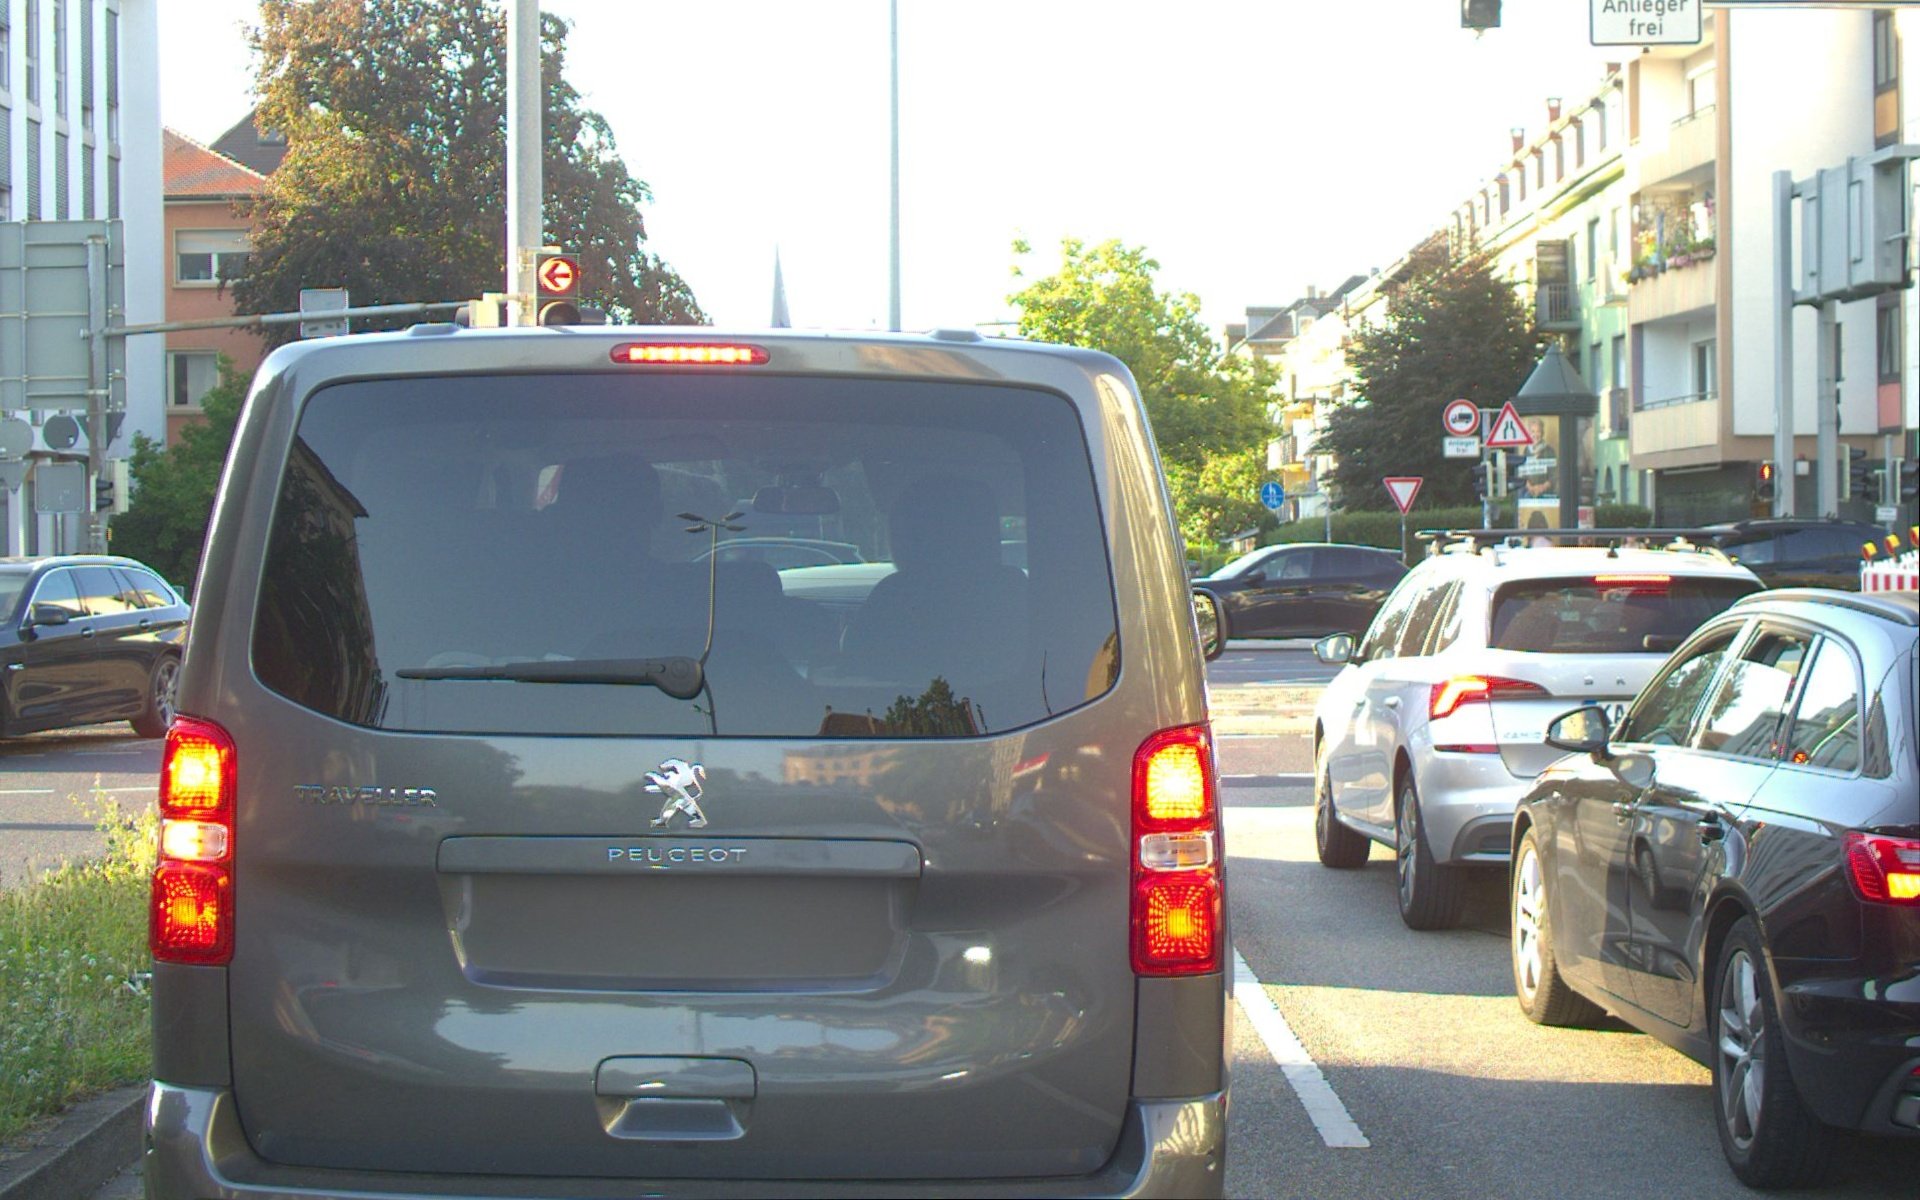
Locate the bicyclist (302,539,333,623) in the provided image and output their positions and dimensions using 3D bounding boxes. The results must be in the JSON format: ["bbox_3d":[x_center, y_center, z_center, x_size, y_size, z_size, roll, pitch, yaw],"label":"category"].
[{"bbox_3d":[-12.004,-0.355,64.246,0.477,1.550,0.509,0,1,-1],"label":"bicyclist"}]

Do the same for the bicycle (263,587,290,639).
[{"bbox_3d":[-12.763,0.233,64.166,0.291,0.945,1.072,0,1,-1],"label":"bicycle"}]

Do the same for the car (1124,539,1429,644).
[{"bbox_3d":[4.239,-0.129,46.350,3.815,1.349,1.727,-1,1,-7],"label":"car"}]

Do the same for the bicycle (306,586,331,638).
[{"bbox_3d":[-11.992,0.223,64.286,0.276,0.945,1.072,0,1,-1],"label":"bicycle"}]

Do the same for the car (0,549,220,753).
[{"bbox_3d":[-7.402,0.361,25.922,1.698,1.437,4.238,0,1,17],"label":"car"}]

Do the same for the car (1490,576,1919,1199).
[{"bbox_3d":[2.627,0.680,9.242,1.681,1.416,4.214,1,1,-1],"label":"car"}]

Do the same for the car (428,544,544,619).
[{"bbox_3d":[-9.356,-0.391,68.105,1.856,1.415,4.001,-1,1,-2],"label":"car"}]

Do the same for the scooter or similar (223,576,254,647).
[{"bbox_3d":[-12.265,0.189,58.421,0.285,1.184,1.169,0,1,-1],"label":"scooter or similar"}]

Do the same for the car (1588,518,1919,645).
[{"bbox_3d":[10.071,-0.252,43.174,3.986,1.511,1.682,-1,1,-21],"label":"car"}]

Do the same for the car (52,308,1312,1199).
[{"bbox_3d":[-0.457,0.460,7.529,1.907,1.857,4.527,1,1,-1],"label":"car"}]

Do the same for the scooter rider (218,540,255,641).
[{"bbox_3d":[-12.258,-0.161,58.265,0.481,1.691,0.636,0,1,-1],"label":"scooter rider"}]

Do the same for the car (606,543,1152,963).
[{"bbox_3d":[-0.319,0.530,14.624,1.993,1.525,4.000,0,1,-1],"label":"car"}]

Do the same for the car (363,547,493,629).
[{"bbox_3d":[-9.625,-0.247,62.433,1.856,1.415,4.001,-1,1,-2],"label":"car"}]

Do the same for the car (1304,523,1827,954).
[{"bbox_3d":[2.475,0.493,14.866,1.528,1.608,3.745,1,1,-1],"label":"car"}]

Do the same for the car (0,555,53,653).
[{"bbox_3d":[-14.285,0.056,46.674,3.605,1.291,1.836,-1,1,-8],"label":"car"}]

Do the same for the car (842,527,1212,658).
[{"bbox_3d":[0.791,-0.109,39.361,3.987,1.413,1.681,-1,1,-35],"label":"car"}]

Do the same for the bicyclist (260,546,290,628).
[{"bbox_3d":[-12.783,-0.247,64.172,0.462,1.516,0.469,0,1,-1],"label":"bicyclist"}]
